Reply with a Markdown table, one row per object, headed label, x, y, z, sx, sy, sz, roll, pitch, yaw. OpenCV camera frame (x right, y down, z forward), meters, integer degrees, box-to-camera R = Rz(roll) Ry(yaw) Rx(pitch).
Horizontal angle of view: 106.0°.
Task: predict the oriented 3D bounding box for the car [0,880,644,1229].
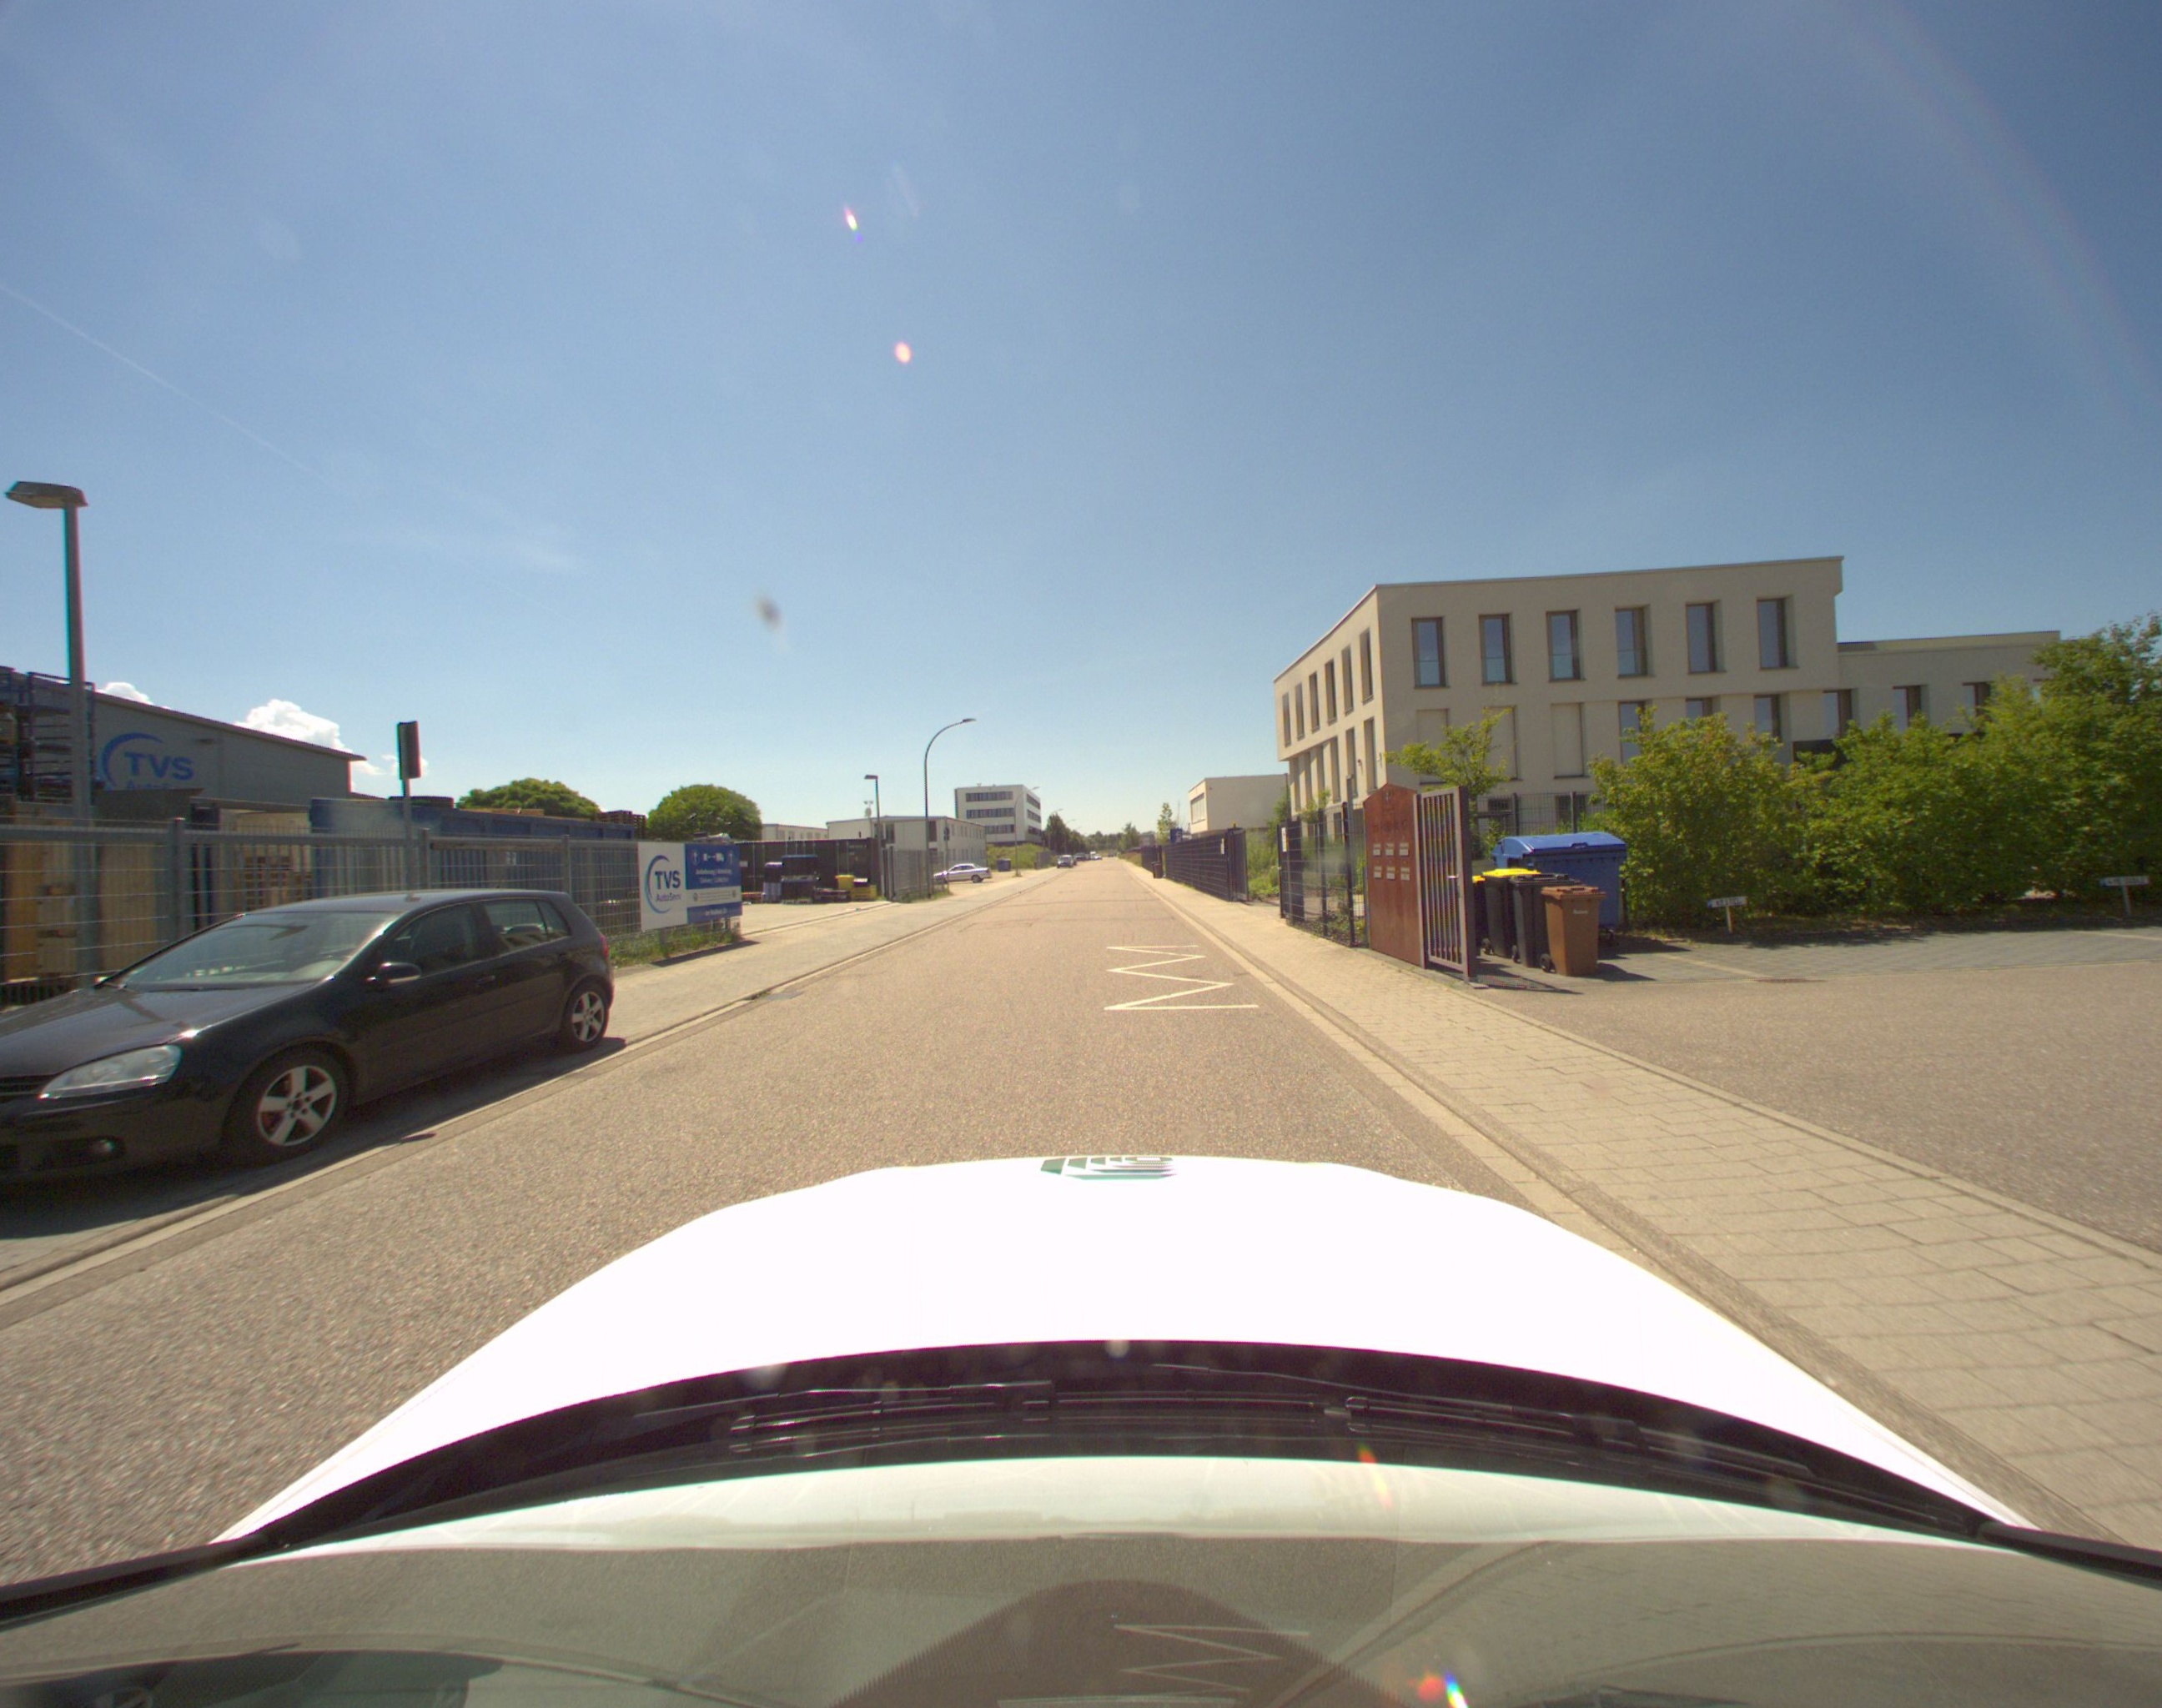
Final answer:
| label | x | y | z | sx | sy | sz | roll | pitch | yaw |
| --- | --- | --- | --- | --- | --- | --- | --- | --- | --- |
| car | -5.296 | 0.998 | 5.895 | 1.762 | 1.461 | 4.335 | -1 | 0 | 2 |

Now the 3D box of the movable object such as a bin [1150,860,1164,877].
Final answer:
| label | x | y | z | sx | sy | sz | roll | pitch | yaw |
| --- | --- | --- | --- | --- | --- | --- | --- | --- | --- |
| movable object such as a bin | 5.022 | 0.963 | 53.555 | 0.775 | 1.019 | 0.666 | -7 | 1 | 6 |

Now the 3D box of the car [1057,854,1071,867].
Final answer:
| label | x | y | z | sx | sy | sz | roll | pitch | yaw |
| --- | --- | --- | --- | --- | --- | --- | --- | --- | --- |
| car | -2.079 | 0.836 | 100.606 | 1.461 | 1.489 | 3.209 | -2 | 0 | 2 |

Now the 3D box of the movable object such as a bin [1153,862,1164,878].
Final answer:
| label | x | y | z | sx | sy | sz | roll | pitch | yaw |
| --- | --- | --- | --- | --- | --- | --- | --- | --- | --- |
| movable object such as a bin | 5.014 | 1.038 | 52.572 | 0.549 | 0.928 | 0.523 | -7 | 1 | 6 |

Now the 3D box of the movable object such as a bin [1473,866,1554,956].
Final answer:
| label | x | y | z | sx | sy | sz | roll | pitch | yaw |
| --- | --- | --- | --- | --- | --- | --- | --- | --- | --- |
| movable object such as a bin | 5.287 | 0.682 | 9.984 | 0.602 | 1.036 | 0.651 | -3 | 0 | 2 |

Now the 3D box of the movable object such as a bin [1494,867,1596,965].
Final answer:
| label | x | y | z | sx | sy | sz | roll | pitch | yaw |
| --- | --- | --- | --- | --- | --- | --- | --- | --- | --- |
| movable object such as a bin | 5.308 | 0.694 | 9.346 | 0.790 | 1.036 | 0.581 | -3 | -1 | 1 |

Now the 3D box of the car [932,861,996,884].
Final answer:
| label | x | y | z | sx | sy | sz | roll | pitch | yaw |
| --- | --- | --- | --- | --- | --- | --- | --- | --- | --- |
| car | -8.536 | 1.358 | 59.496 | 4.261 | 1.364 | 1.899 | -3 | 0 | 2 |

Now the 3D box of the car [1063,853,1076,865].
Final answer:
| label | x | y | z | sx | sy | sz | roll | pitch | yaw |
| --- | --- | --- | --- | --- | --- | --- | --- | --- | --- |
| car | -1.544 | 0.618 | 107.593 | 1.461 | 1.489 | 3.209 | -2 | 0 | 2 |

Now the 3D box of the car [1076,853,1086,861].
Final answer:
| label | x | y | z | sx | sy | sz | roll | pitch | yaw |
| --- | --- | --- | --- | --- | --- | --- | --- | --- | --- |
| car | -0.029 | 0.558 | 155.525 | 1.638 | 1.489 | 3.209 | -2 | 0 | 2 |

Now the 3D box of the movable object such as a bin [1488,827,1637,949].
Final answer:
| label | x | y | z | sx | sy | sz | roll | pitch | yaw |
| --- | --- | --- | --- | --- | --- | --- | --- | --- | --- |
| movable object such as a bin | 6.270 | 0.431 | 10.680 | 1.329 | 1.459 | 0.949 | -3 | 0 | 1 |

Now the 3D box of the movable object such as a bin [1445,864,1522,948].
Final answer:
| label | x | y | z | sx | sy | sz | roll | pitch | yaw |
| --- | --- | --- | --- | --- | --- | --- | --- | --- | --- |
| movable object such as a bin | 5.311 | 0.668 | 10.792 | 0.541 | 1.036 | 0.914 | -3 | 0 | 2 |

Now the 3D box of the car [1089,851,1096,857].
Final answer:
| label | x | y | z | sx | sy | sz | roll | pitch | yaw |
| --- | --- | --- | --- | --- | --- | --- | --- | --- | --- |
| car | 3.046 | 0.096 | 222.484 | 1.797 | 1.557 | 4.002 | -3 | 0 | 2 |

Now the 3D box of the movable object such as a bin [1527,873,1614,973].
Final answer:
| label | x | y | z | sx | sy | sz | roll | pitch | yaw |
| --- | --- | --- | --- | --- | --- | --- | --- | --- | --- |
| movable object such as a bin | 5.254 | 0.728 | 8.758 | 0.541 | 0.994 | 0.581 | -3 | -1 | 1 |

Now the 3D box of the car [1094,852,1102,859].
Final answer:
| label | x | y | z | sx | sy | sz | roll | pitch | yaw |
| --- | --- | --- | --- | --- | --- | --- | --- | --- | --- |
| car | 4.051 | 0.284 | 194.481 | 1.797 | 1.557 | 4.002 | -3 | 0 | 2 |

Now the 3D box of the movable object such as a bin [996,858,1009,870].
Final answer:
| label | x | y | z | sx | sy | sz | roll | pitch | yaw |
| --- | --- | --- | --- | --- | --- | --- | --- | --- | --- |
| movable object such as a bin | -9.074 | 1.158 | 94.507 | 1.282 | 1.412 | 1.805 | -2 | 0 | -2 |
